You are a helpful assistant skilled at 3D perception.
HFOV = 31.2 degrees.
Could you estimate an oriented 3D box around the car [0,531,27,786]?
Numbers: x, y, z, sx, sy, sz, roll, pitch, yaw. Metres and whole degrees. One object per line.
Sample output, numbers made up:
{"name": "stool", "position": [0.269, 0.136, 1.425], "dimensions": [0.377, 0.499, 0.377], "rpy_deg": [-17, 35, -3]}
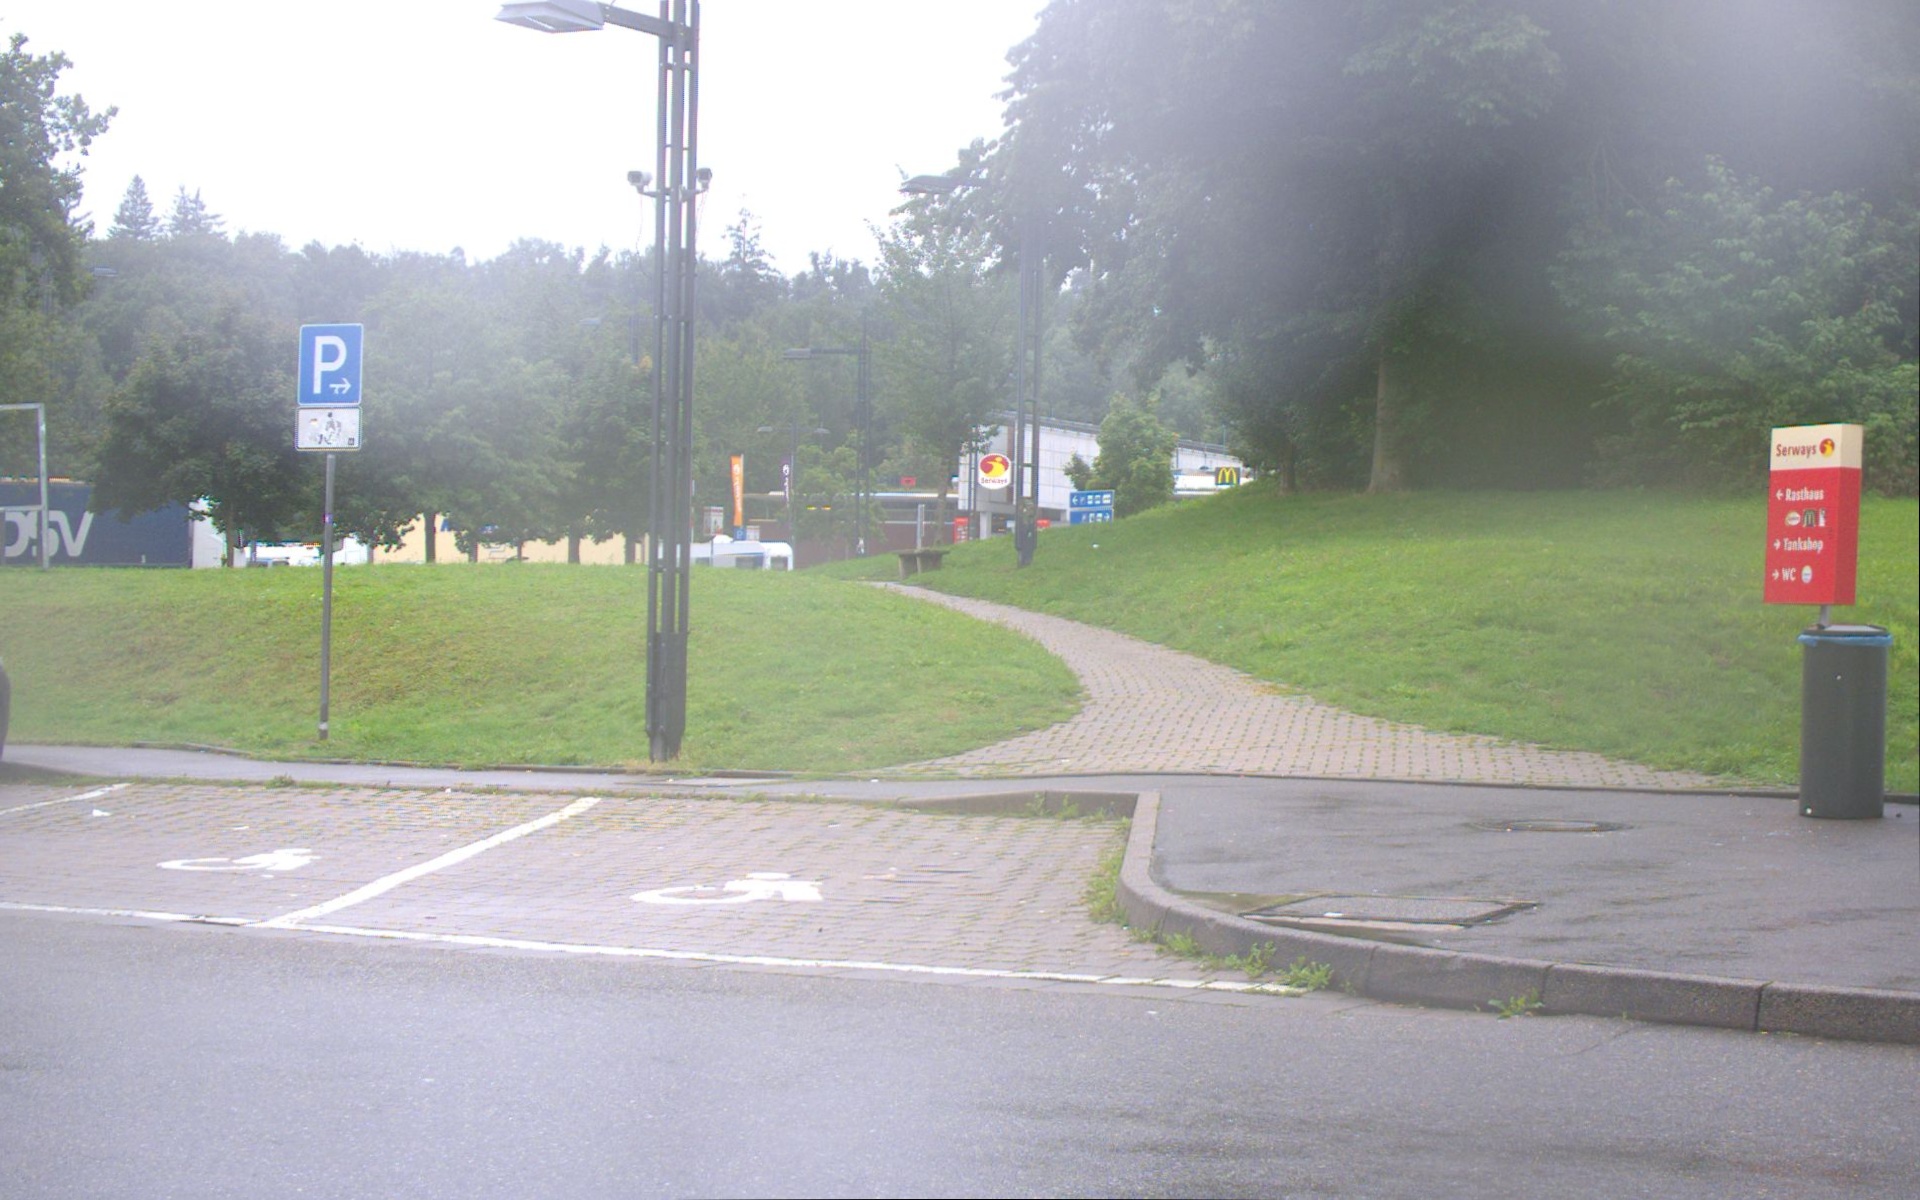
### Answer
{"name": "car", "position": [-7.800, 0.454, 21.491], "dimensions": [2.018, 1.705, 4.341], "rpy_deg": [-1, 1, 12]}

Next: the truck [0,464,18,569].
{"name": "truck", "position": [-28.602, -2.346, 94.658], "dimensions": [2.189, 2.910, 5.380], "rpy_deg": [1, 1, 24]}

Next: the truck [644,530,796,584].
{"name": "truck", "position": [-9.327, -1.672, 133.806], "dimensions": [5.413, 2.007, 2.364], "rpy_deg": [1, 1, 25]}

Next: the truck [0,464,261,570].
{"name": "truck", "position": [-25.464, -2.372, 101.628], "dimensions": [2.188, 2.910, 13.082], "rpy_deg": [1, 1, 24]}
